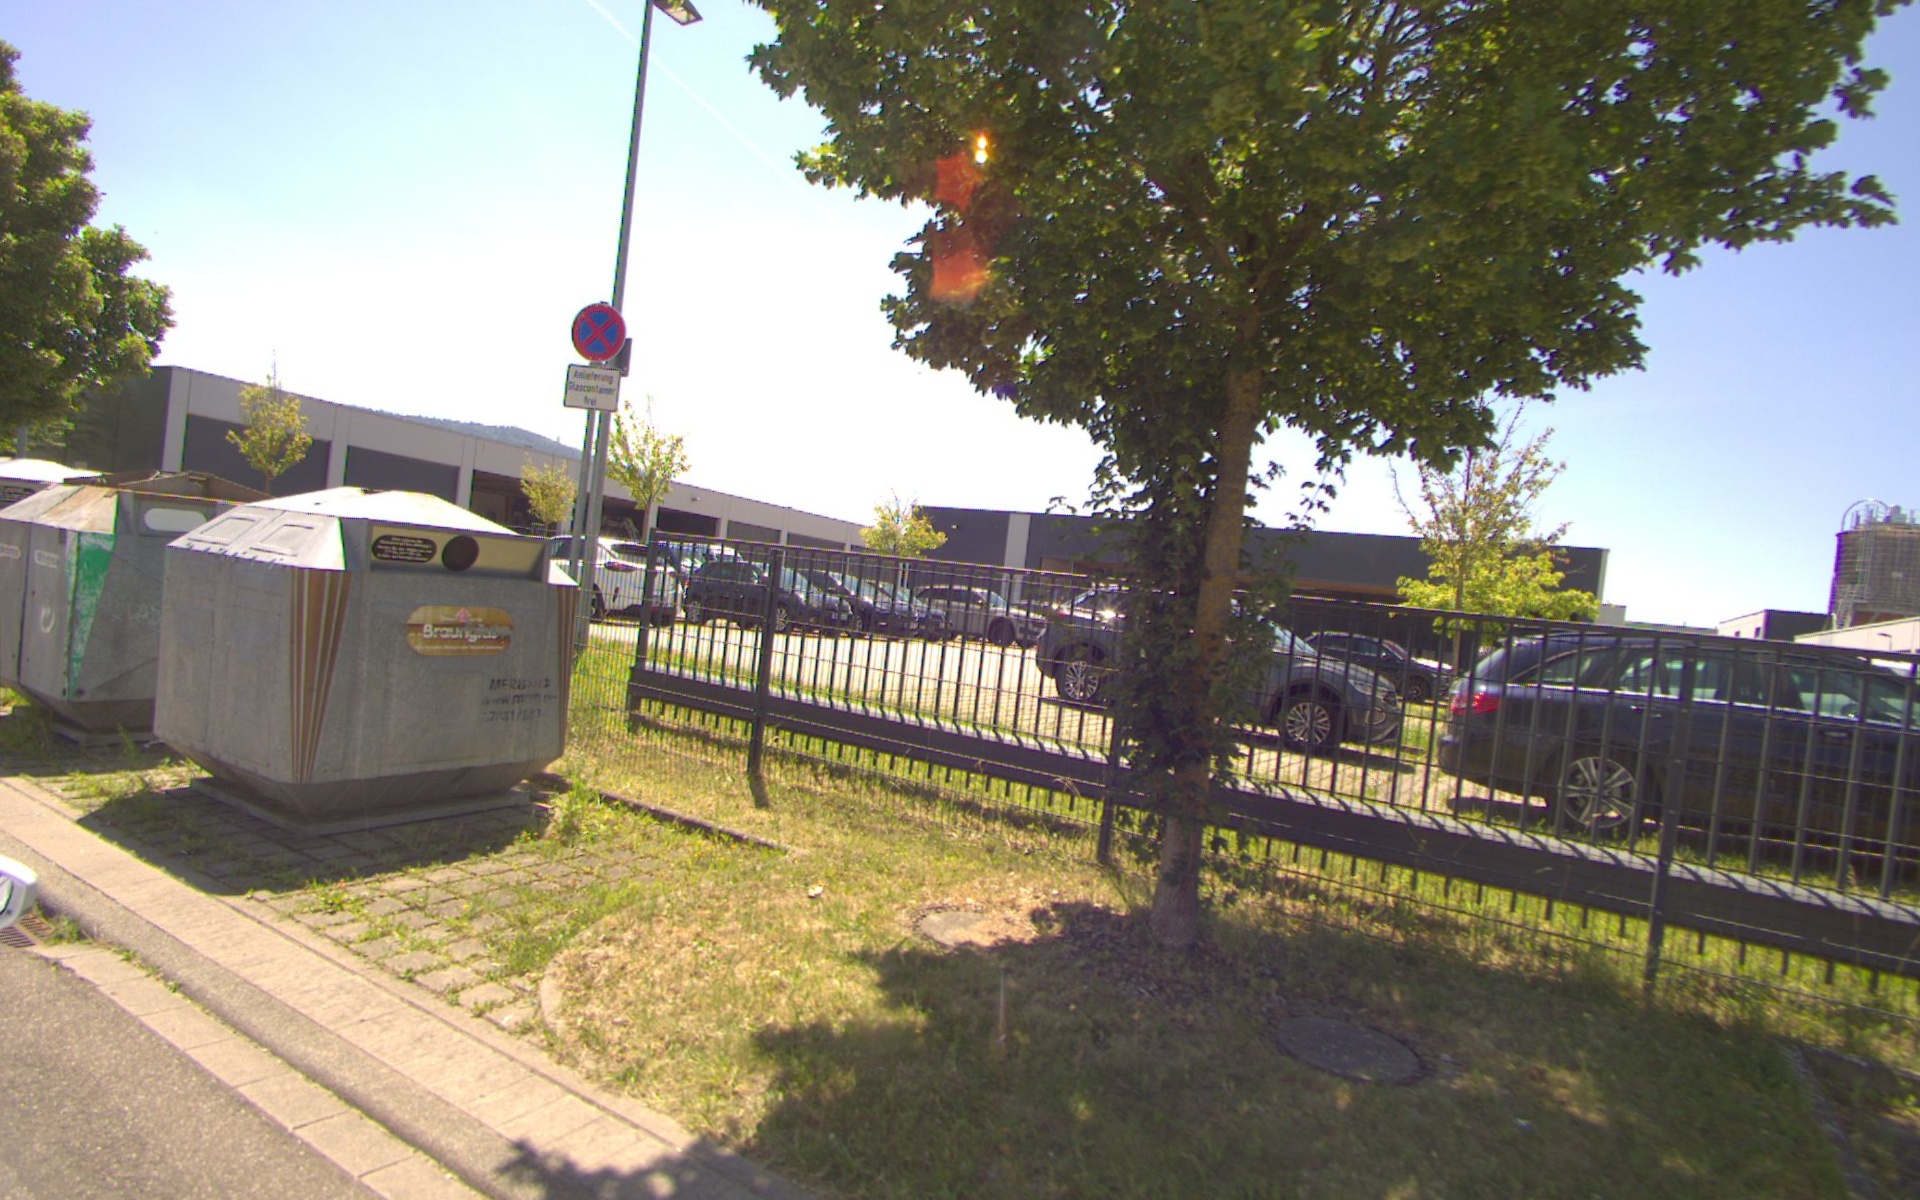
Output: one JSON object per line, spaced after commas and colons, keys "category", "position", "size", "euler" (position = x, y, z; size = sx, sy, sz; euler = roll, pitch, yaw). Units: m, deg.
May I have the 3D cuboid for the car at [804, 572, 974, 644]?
{"category": "car", "position": [-1.871, 0.201, 26.300], "size": [4.031, 1.479, 1.792], "euler": [5, -1, 29]}

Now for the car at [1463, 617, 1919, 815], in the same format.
{"category": "car", "position": [8.551, 1.255, 11.799], "size": [4.571, 1.674, 1.842], "euler": [5, -1, 29]}

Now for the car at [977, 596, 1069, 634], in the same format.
{"category": "car", "position": [3.098, 0.740, 49.511], "size": [4.031, 1.479, 1.792], "euler": [5, -1, 29]}

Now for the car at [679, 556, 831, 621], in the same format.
{"category": "car", "position": [-5.909, -0.332, 28.931], "size": [4.031, 1.479, 1.792], "euler": [5, -1, 29]}

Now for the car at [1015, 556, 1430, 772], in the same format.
{"category": "car", "position": [2.984, 0.645, 11.641], "size": [4.168, 1.643, 1.792], "euler": [9, 1, 29]}

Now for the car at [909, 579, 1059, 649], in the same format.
{"category": "car", "position": [0.693, 0.412, 30.262], "size": [4.031, 1.703, 1.792], "euler": [5, -1, 29]}

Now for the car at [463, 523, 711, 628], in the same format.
{"category": "car", "position": [-6.568, -0.440, 17.652], "size": [4.073, 1.450, 1.792], "euler": [5, -1, 29]}

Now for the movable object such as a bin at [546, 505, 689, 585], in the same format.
{"category": "movable object such as a bin", "position": [-21.757, -3.528, 63.810], "size": [8.519, 4.024, 3.545], "euler": [7, 1, 30]}

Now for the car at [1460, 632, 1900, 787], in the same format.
{"category": "car", "position": [9.524, 1.388, 13.852], "size": [4.571, 1.450, 1.842], "euler": [5, -1, 29]}

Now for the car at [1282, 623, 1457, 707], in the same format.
{"category": "car", "position": [11.029, 1.709, 27.123], "size": [4.006, 1.604, 1.914], "euler": [8, 1, 29]}

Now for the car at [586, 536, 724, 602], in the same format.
{"category": "car", "position": [-12.454, -1.278, 40.956], "size": [5.560, 2.291, 1.883], "euler": [4, 0, 29]}

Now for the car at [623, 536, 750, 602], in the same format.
{"category": "car", "position": [-11.969, -1.369, 43.920], "size": [5.412, 2.508, 1.883], "euler": [4, 0, 29]}

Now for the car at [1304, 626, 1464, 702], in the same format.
{"category": "car", "position": [12.438, 1.847, 29.565], "size": [4.006, 1.604, 1.914], "euler": [8, 1, 29]}

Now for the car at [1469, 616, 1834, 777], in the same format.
{"category": "car", "position": [10.709, 1.432, 16.044], "size": [4.440, 1.923, 1.914], "euler": [5, -1, 29]}

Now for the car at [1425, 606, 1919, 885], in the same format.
{"category": "car", "position": [5.762, 0.990, 7.054], "size": [4.335, 1.472, 1.792], "euler": [5, -1, 29]}

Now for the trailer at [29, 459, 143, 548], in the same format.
{"category": "trailer", "position": [-24.635, -2.730, 28.335], "size": [3.210, 2.033, 1.494], "euler": [10, 3, 33]}

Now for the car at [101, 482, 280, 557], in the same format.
{"category": "car", "position": [-19.226, -2.025, 25.109], "size": [4.393, 1.541, 1.883], "euler": [4, -1, 29]}

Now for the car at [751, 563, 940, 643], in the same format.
{"category": "car", "position": [-2.714, 0.066, 23.587], "size": [4.031, 1.479, 1.792], "euler": [5, -1, 29]}

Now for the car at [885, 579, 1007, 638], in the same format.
{"category": "car", "position": [-0.517, 0.318, 37.122], "size": [4.031, 1.783, 1.792], "euler": [5, -1, 29]}

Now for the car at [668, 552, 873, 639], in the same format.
{"category": "car", "position": [-4.082, -0.104, 21.570], "size": [4.031, 1.479, 1.792], "euler": [5, -1, 29]}

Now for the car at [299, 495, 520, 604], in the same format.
{"category": "car", "position": [-11.175, -1.028, 20.362], "size": [4.346, 1.550, 1.792], "euler": [9, 1, 29]}

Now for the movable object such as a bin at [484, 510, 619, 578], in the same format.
{"category": "movable object such as a bin", "position": [-24.228, -3.322, 59.624], "size": [7.195, 3.032, 3.545], "euler": [7, 1, 30]}

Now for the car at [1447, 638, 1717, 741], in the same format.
{"category": "car", "position": [12.618, 1.777, 20.756], "size": [4.440, 1.552, 1.914], "euler": [5, -1, 29]}

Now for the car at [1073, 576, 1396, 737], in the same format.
{"category": "car", "position": [3.831, 0.736, 14.187], "size": [3.953, 1.511, 1.648], "euler": [9, 1, 29]}

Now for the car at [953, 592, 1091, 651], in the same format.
{"category": "car", "position": [2.021, 0.691, 32.913], "size": [4.031, 1.534, 1.792], "euler": [5, -1, 29]}

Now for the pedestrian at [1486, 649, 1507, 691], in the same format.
{"category": "pedestrian", "position": [22.268, 2.902, 41.775], "size": [0.510, 1.679, 0.702], "euler": [7, 2, 36]}
